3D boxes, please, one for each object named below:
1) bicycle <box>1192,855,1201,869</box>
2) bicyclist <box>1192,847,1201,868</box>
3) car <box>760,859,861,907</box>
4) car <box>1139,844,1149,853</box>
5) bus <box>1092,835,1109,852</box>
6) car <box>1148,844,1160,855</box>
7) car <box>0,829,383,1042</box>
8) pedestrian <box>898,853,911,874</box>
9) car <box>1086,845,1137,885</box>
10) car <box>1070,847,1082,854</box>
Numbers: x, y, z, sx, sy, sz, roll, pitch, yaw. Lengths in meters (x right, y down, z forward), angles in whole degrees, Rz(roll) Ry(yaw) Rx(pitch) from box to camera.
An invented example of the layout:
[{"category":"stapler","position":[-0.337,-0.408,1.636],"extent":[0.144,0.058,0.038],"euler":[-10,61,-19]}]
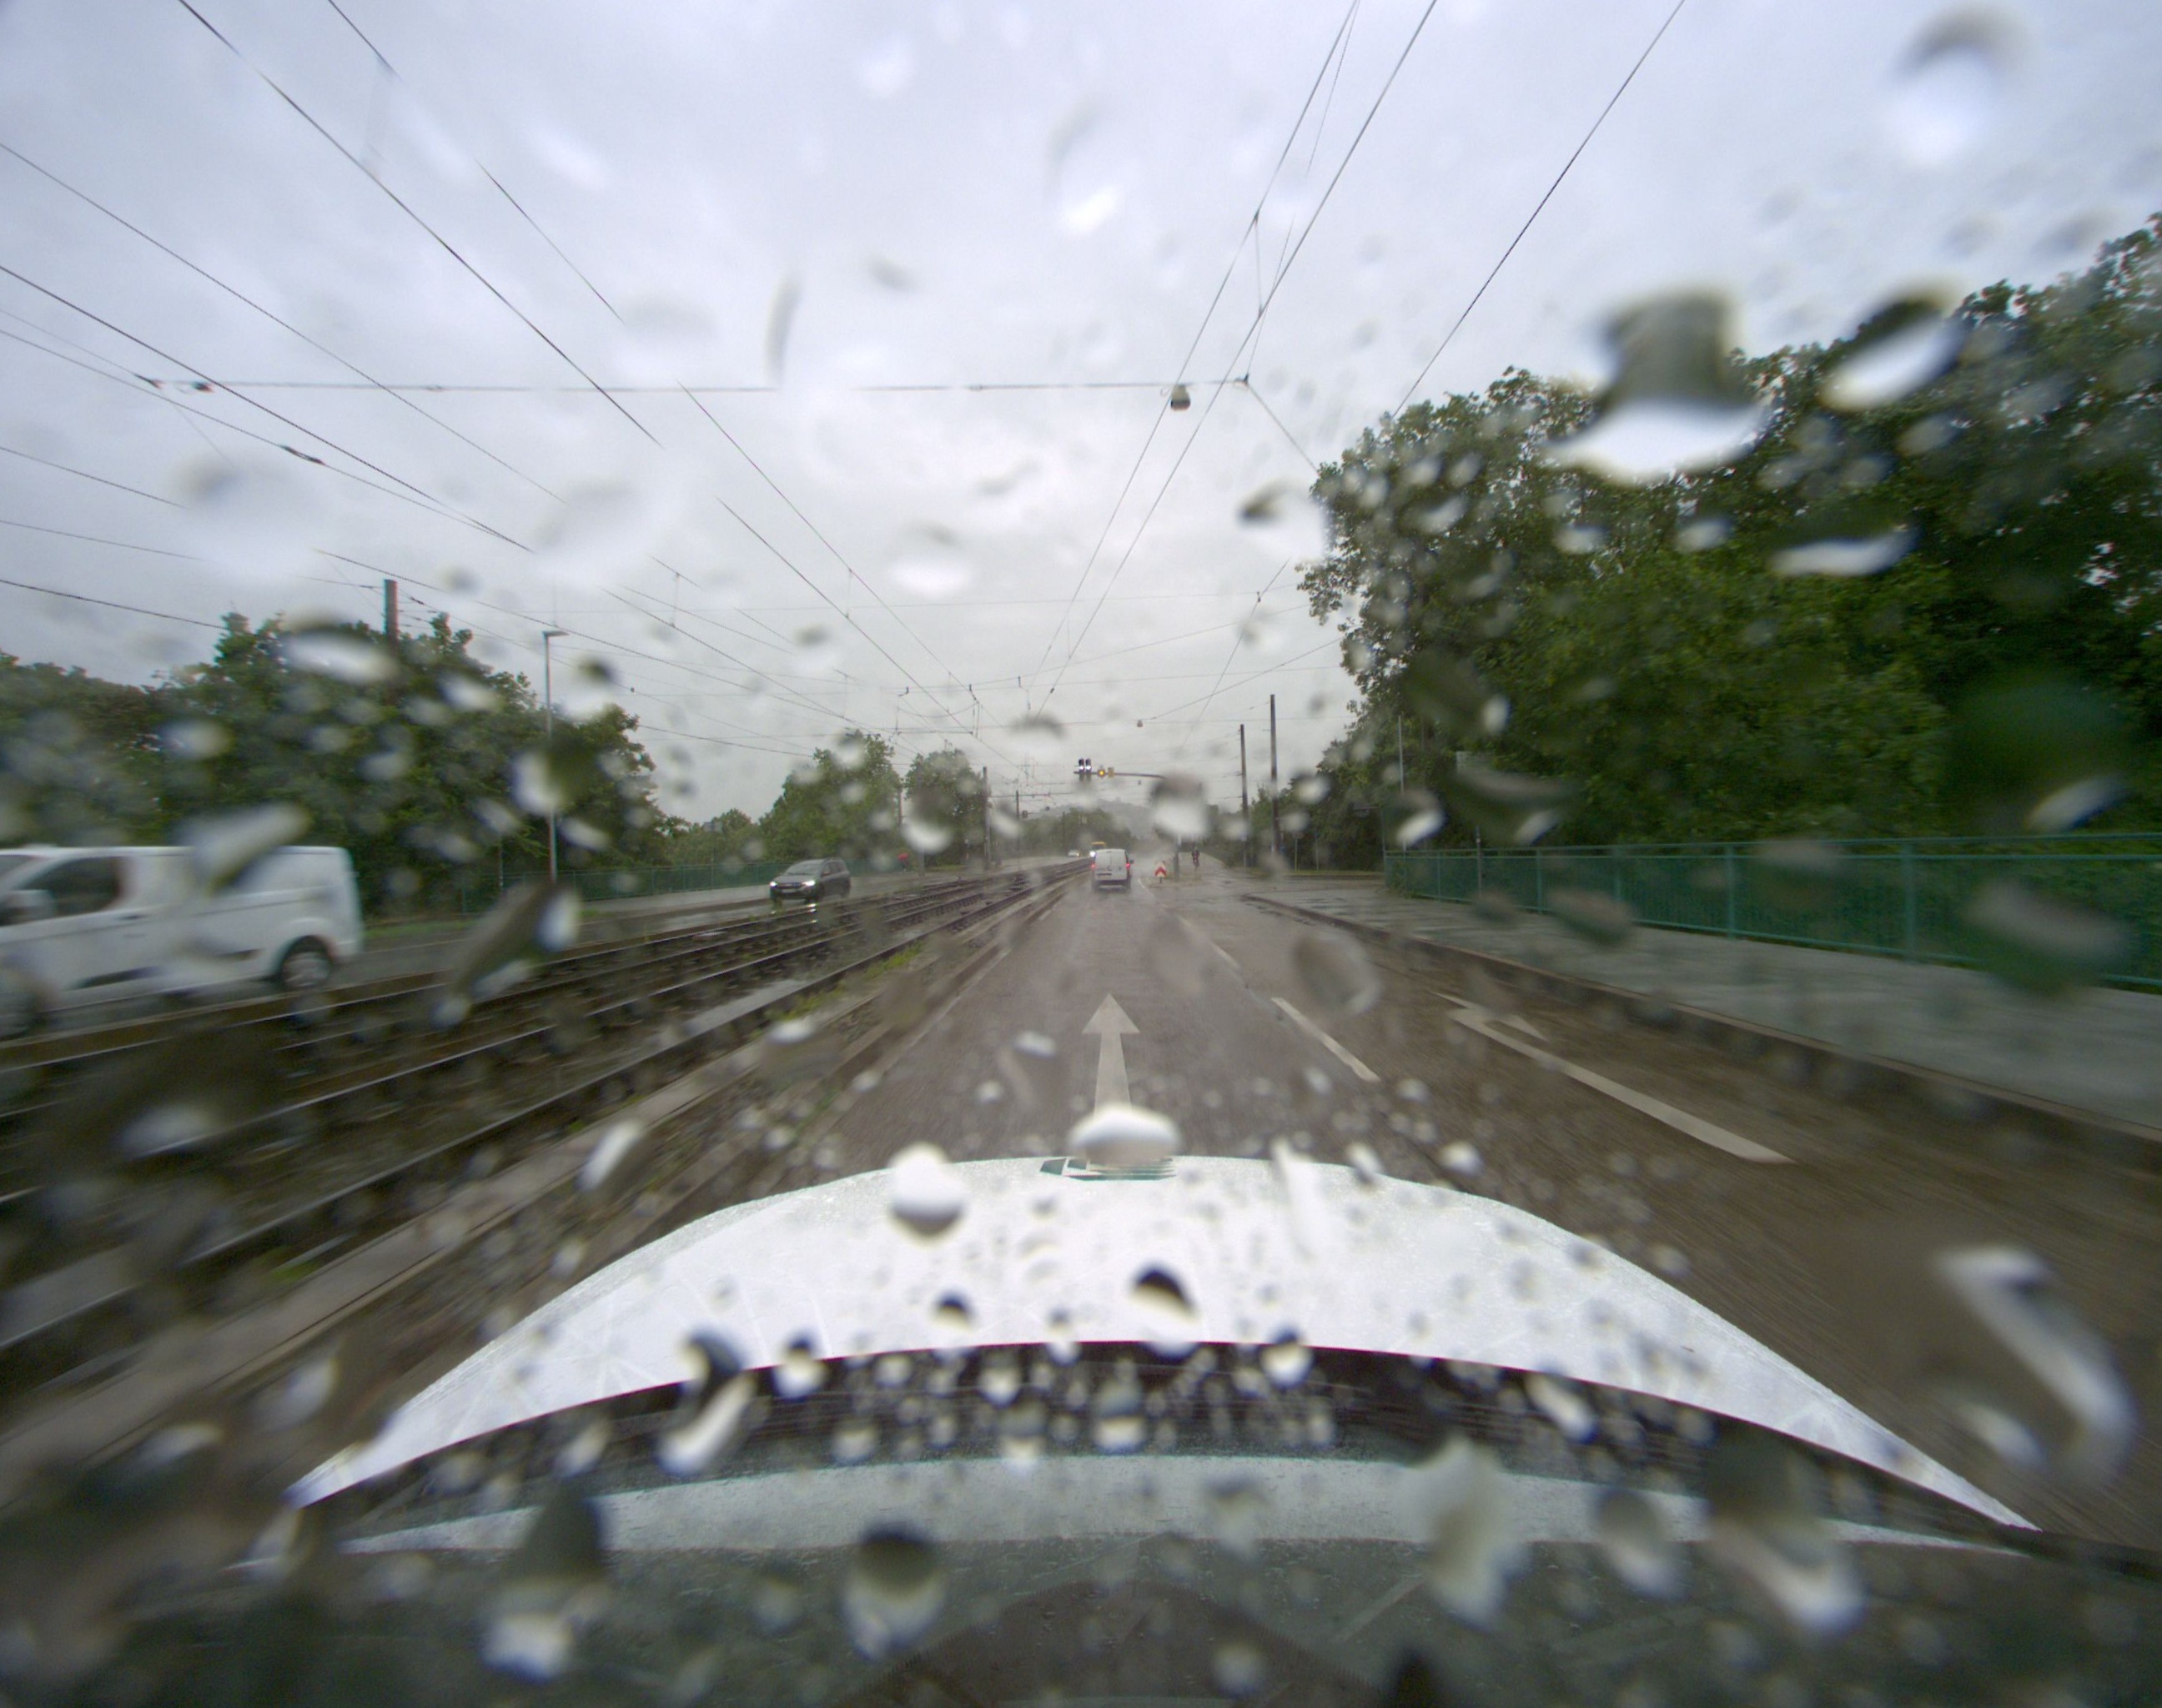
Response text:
[{"category":"bicycle","position":[9.762,0.656,68.991],"extent":[0.719,1.129,2.171],"euler":[0,0,6]},{"category":"bicyclist","position":[9.776,0.322,68.923],"extent":[0.722,1.764,0.951],"euler":[0,-1,6]},{"category":"car","position":[-10.308,1.058,31.525],"extent":[1.986,1.648,5.373],"euler":[0,0,1]},{"category":"car","position":[9.860,-0.847,127.748],"extent":[1.445,1.499,2.983],"euler":[0,0,2]},{"category":"bus","position":[4.216,-2.262,176.771],"extent":[2.695,3.340,11.013],"euler":[-3,2,6]},{"category":"car","position":[10.276,-0.660,114.434],"extent":[1.445,1.499,2.983],"euler":[0,0,2]},{"category":"car","position":[-11.315,0.776,9.449],"extent":[1.986,2.044,5.030],"euler":[0,0,1]},{"category":"pedestrian","position":[-15.308,0.791,70.648],"extent":[0.860,1.819,1.044],"euler":[0,-1,4]},{"category":"car","position":[1.434,0.484,37.017],"extent":[1.983,1.726,4.008],"euler":[0,0,7]},{"category":"car","position":[-0.984,-0.675,159.163],"extent":[1.925,1.231,4.107],"euler":[-3,2,6]}]
